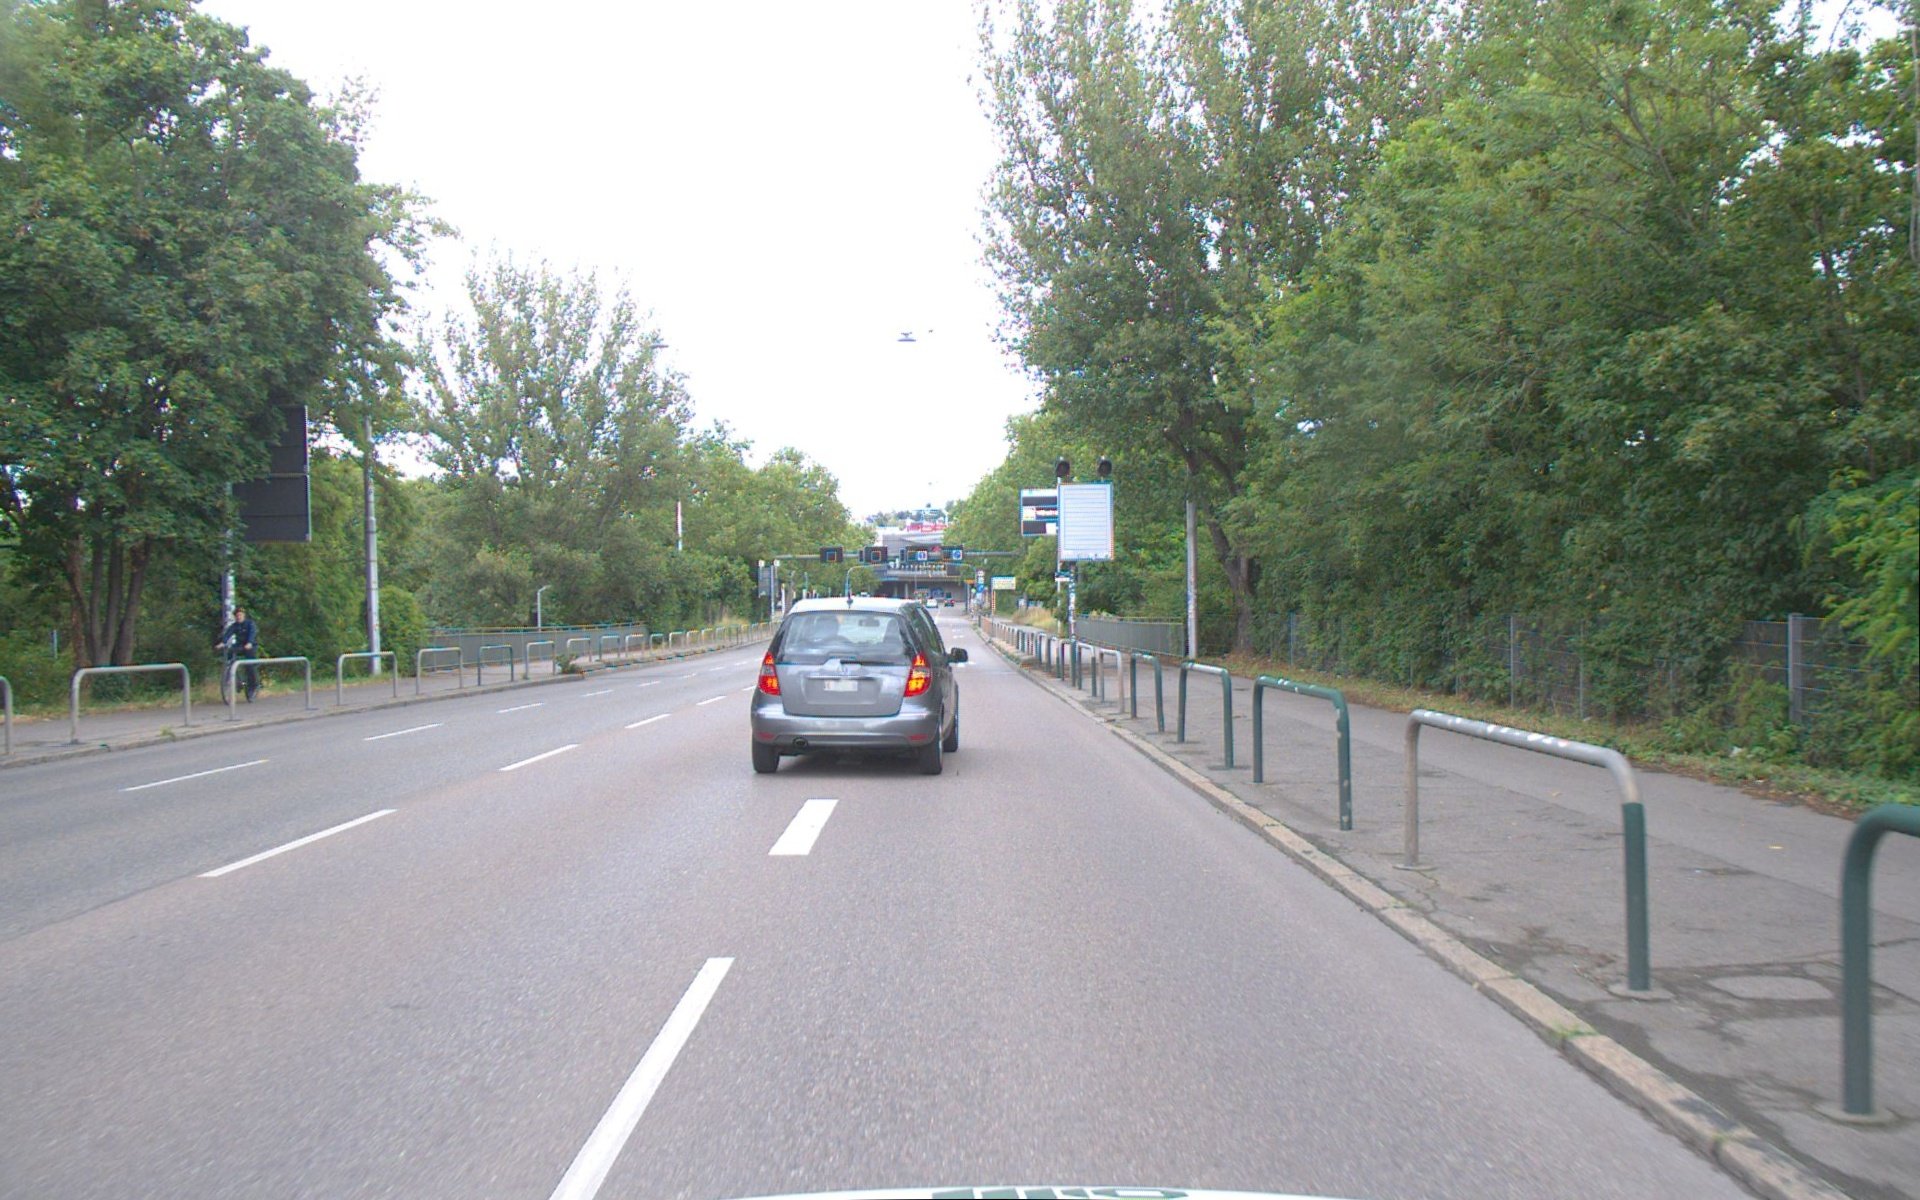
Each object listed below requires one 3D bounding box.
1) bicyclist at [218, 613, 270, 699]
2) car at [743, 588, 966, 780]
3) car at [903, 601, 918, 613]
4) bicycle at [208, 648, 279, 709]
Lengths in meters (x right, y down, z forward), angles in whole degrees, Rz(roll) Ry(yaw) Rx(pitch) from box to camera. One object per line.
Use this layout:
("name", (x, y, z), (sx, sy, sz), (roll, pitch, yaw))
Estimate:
("bicyclist", (-13.105, 1.016, 30.295), (0.504, 1.543, 0.984), (-2, 0, -2))
("car", (-0.902, 0.753, 16.275), (1.788, 1.645, 4.035), (0, -1, 2))
("car", (-7.677, 1.081, 256.504), (1.952, 1.689, 4.518), (-2, 0, 2))
("bicycle", (-13.101, 1.421, 30.293), (0.475, 1.019, 2.001), (-2, 0, -2))
